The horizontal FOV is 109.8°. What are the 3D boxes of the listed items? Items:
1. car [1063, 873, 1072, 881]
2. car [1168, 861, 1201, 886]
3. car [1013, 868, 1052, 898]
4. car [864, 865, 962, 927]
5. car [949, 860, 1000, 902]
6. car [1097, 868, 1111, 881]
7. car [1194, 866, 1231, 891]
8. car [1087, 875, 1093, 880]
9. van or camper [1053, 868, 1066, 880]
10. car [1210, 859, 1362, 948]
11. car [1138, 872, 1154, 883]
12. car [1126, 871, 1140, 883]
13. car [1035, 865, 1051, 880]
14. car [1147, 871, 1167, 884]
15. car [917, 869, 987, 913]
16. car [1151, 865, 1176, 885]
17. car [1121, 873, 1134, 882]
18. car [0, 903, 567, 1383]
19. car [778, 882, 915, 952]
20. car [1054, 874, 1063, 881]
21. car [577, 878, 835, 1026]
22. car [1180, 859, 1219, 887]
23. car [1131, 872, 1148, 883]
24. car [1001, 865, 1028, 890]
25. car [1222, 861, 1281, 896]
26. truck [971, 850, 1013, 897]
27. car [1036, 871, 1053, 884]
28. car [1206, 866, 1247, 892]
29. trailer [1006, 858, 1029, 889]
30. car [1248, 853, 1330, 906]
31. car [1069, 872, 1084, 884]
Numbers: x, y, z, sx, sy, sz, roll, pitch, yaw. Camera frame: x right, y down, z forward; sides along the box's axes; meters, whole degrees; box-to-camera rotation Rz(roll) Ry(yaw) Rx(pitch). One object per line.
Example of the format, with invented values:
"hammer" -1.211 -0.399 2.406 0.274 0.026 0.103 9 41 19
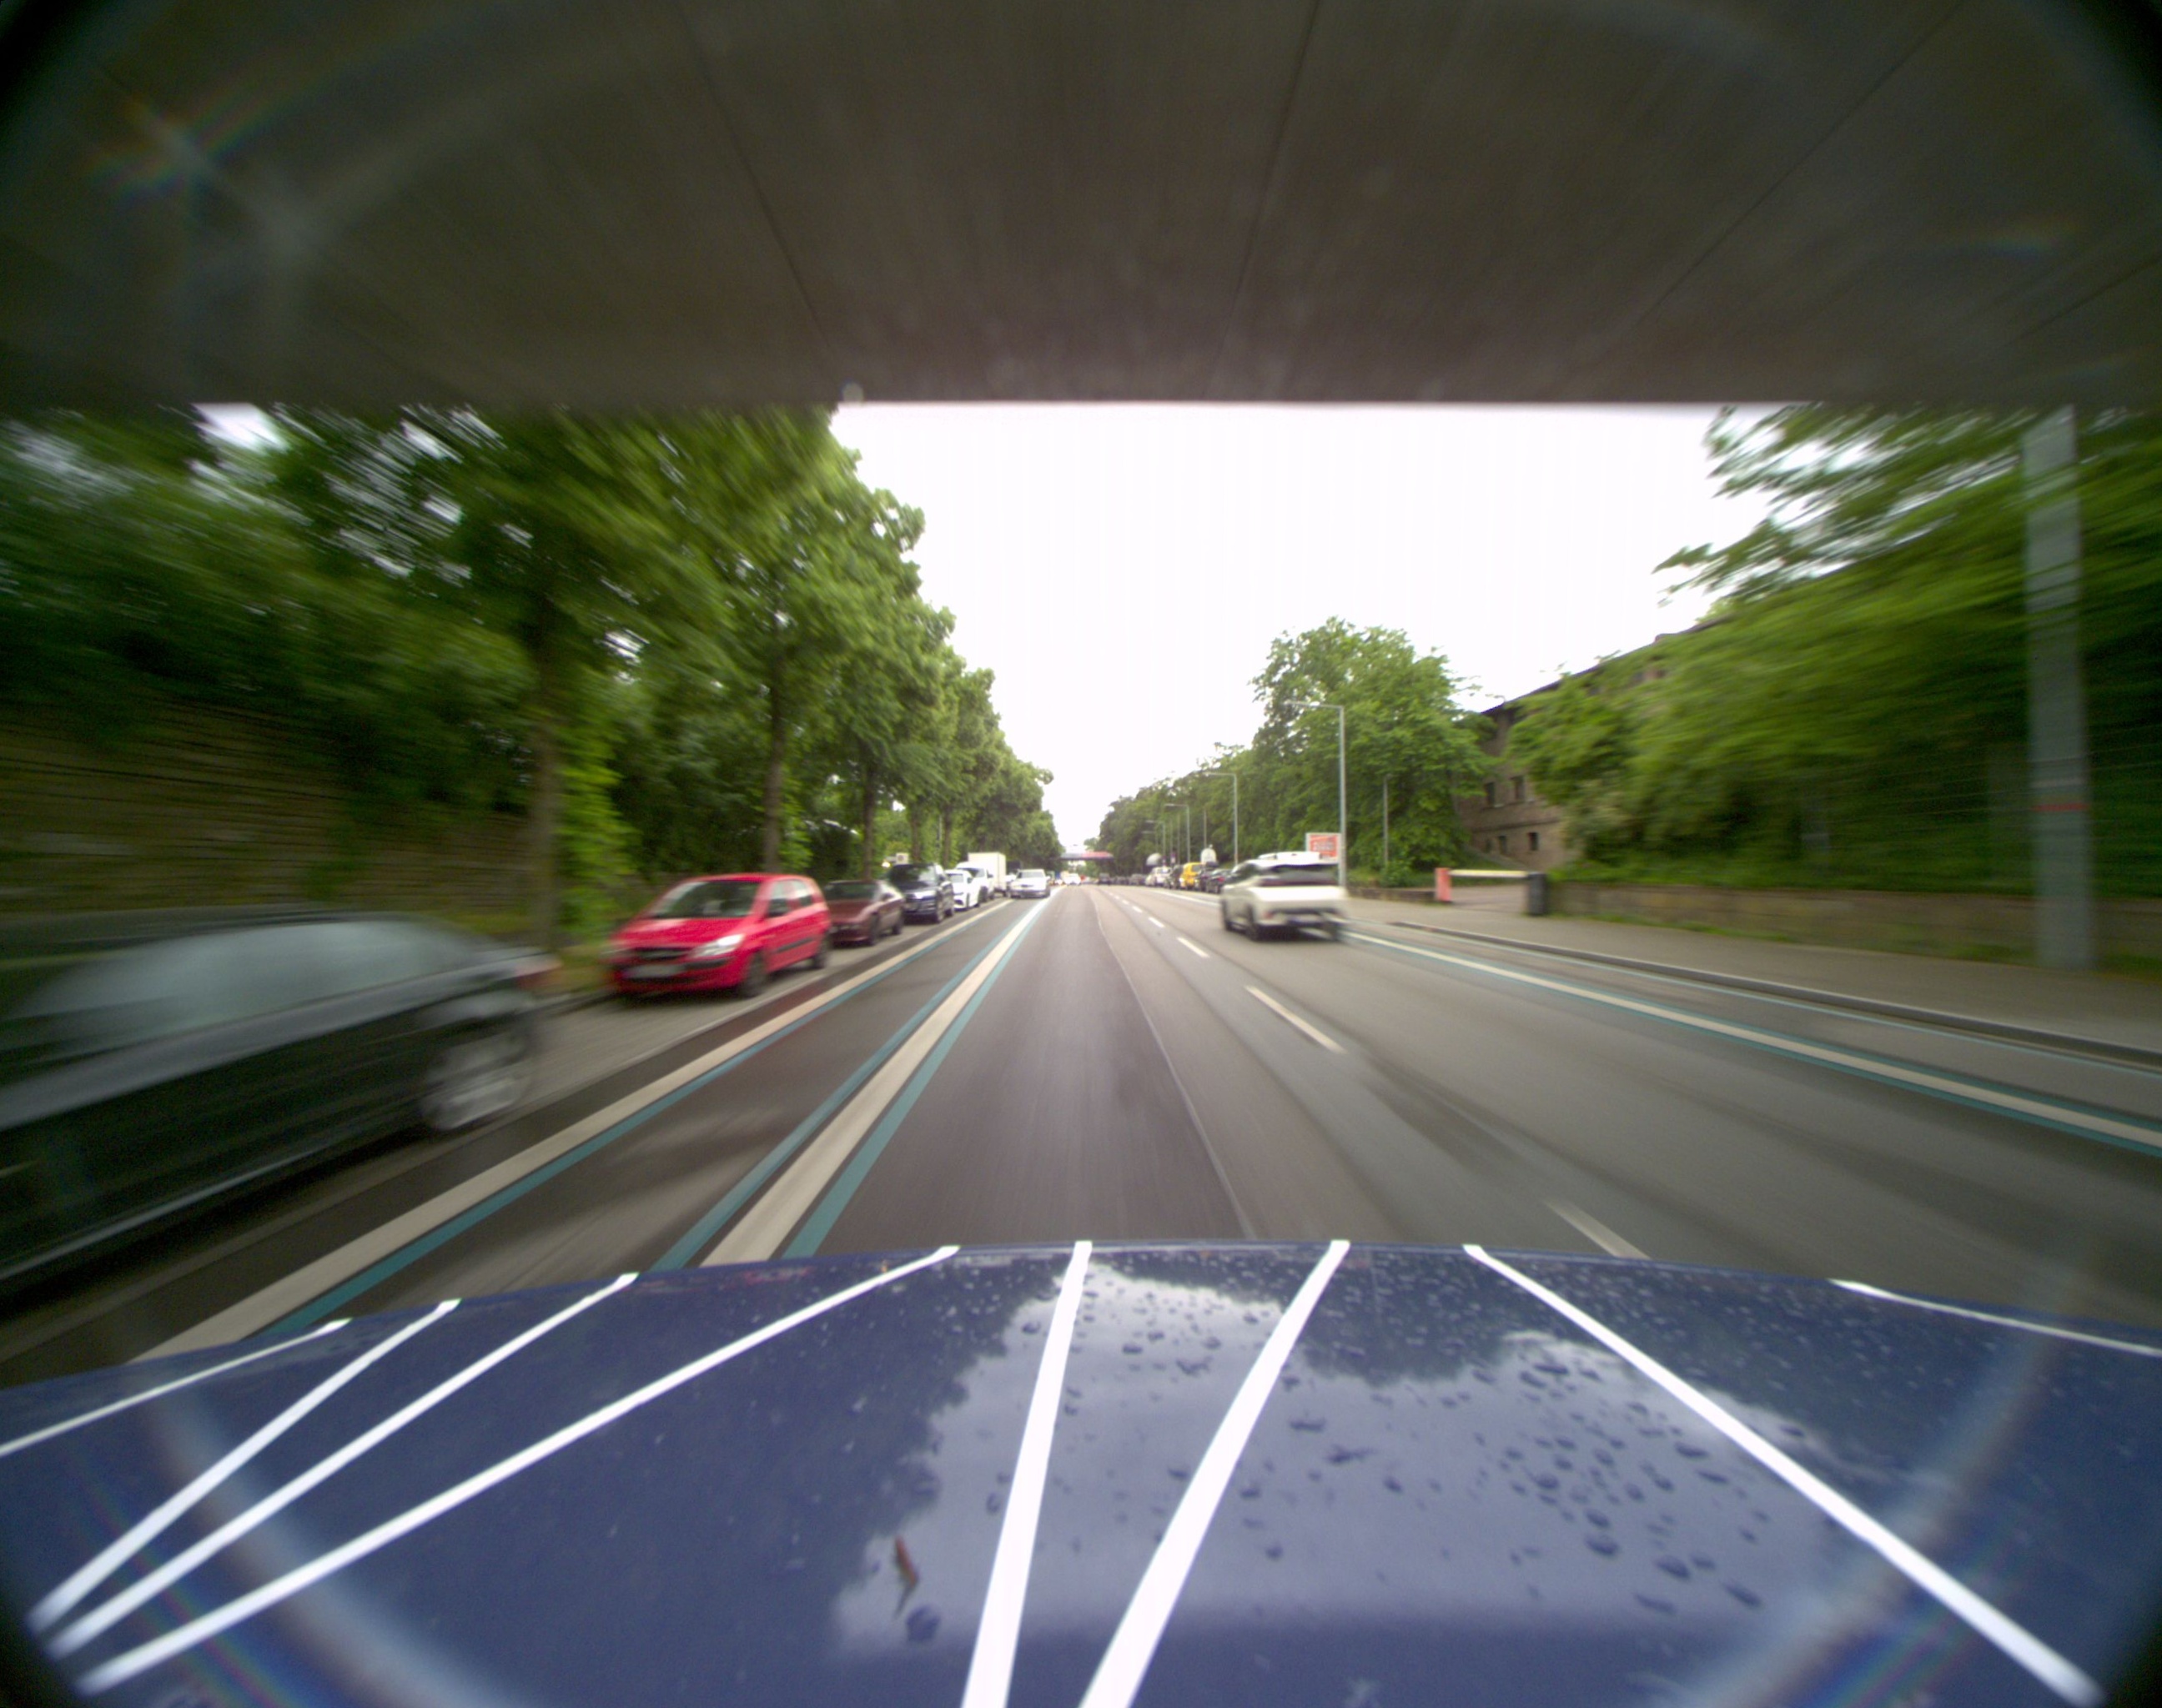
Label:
"car" -2.827 4.724 155.679 1.733 1.578 3.672 -2 -1 0
"car" 8.201 1.569 60.536 1.881 1.908 5.205 1 -2 -1
"car" -2.421 1.452 38.637 1.726 1.389 4.591 -1 -1 -1
"car" -4.656 1.118 21.725 1.999 1.551 4.642 -1 -1 -3
"car" -4.740 1.194 34.341 1.726 1.779 4.346 -1 -1 0
"car" 3.123 2.785 102.804 1.715 1.608 4.151 1 -2 0
"car" 8.406 1.559 48.866 1.714 1.495 4.151 0 -2 1
"car" 2.816 7.548 243.833 1.828 1.453 3.883 -2 -3 0
"van or camper" -4.786 4.454 169.844 2.642 2.617 5.743 -1 -1 0
"car" 3.947 0.890 15.362 1.977 1.543 3.870 -1 0 -1
"car" 8.113 2.939 94.857 1.680 1.363 3.586 0 -2 0
"car" 8.159 3.600 119.716 1.822 1.754 4.002 0 -3 0
"car" -4.931 2.491 99.886 1.847 1.865 4.616 -1 -2 0
"car" 8.249 2.541 82.680 1.731 1.439 4.596 0 -2 0
"car" -4.564 1.277 27.443 1.664 1.417 4.619 -1 -1 1
"car" 8.283 2.107 76.676 1.877 1.965 4.735 0 -2 -2
"car" 7.878 4.001 128.822 1.822 1.533 4.544 0 -3 0
"car" -4.488 1.087 3.155 1.677 1.385 4.449 -1 1 -1
"car" -4.744 1.237 15.968 1.630 1.182 4.184 -1 -1 -1
"car" -4.767 5.049 163.529 1.733 1.578 3.672 -2 -1 0
"car" -4.640 1.118 10.024 1.563 1.458 3.625 -1 0 0
"car" 8.422 1.383 54.452 1.999 1.901 4.845 0 -2 0
"car" 7.765 3.100 101.493 1.795 1.458 4.328 0 -2 -2
"car" -4.602 1.596 52.174 1.761 1.575 4.412 -1 -1 -6
"car" 8.374 1.200 37.673 1.829 1.606 4.663 0 -2 -1
"truck" -4.629 1.005 40.007 1.723 2.319 4.000 -1 -1 0
"car" -4.506 2.897 94.330 1.824 1.477 4.293 -1 -1 0
"car" 8.415 1.420 44.207 1.612 1.437 4.039 0 -2 0
"trailer" -4.781 1.451 57.378 1.350 2.255 3.564 -1 -1 0
"car" 8.119 0.991 30.153 1.983 1.902 5.229 0 -2 2
"car" -0.557 3.045 97.942 1.828 1.453 3.882 -2 -1 0
